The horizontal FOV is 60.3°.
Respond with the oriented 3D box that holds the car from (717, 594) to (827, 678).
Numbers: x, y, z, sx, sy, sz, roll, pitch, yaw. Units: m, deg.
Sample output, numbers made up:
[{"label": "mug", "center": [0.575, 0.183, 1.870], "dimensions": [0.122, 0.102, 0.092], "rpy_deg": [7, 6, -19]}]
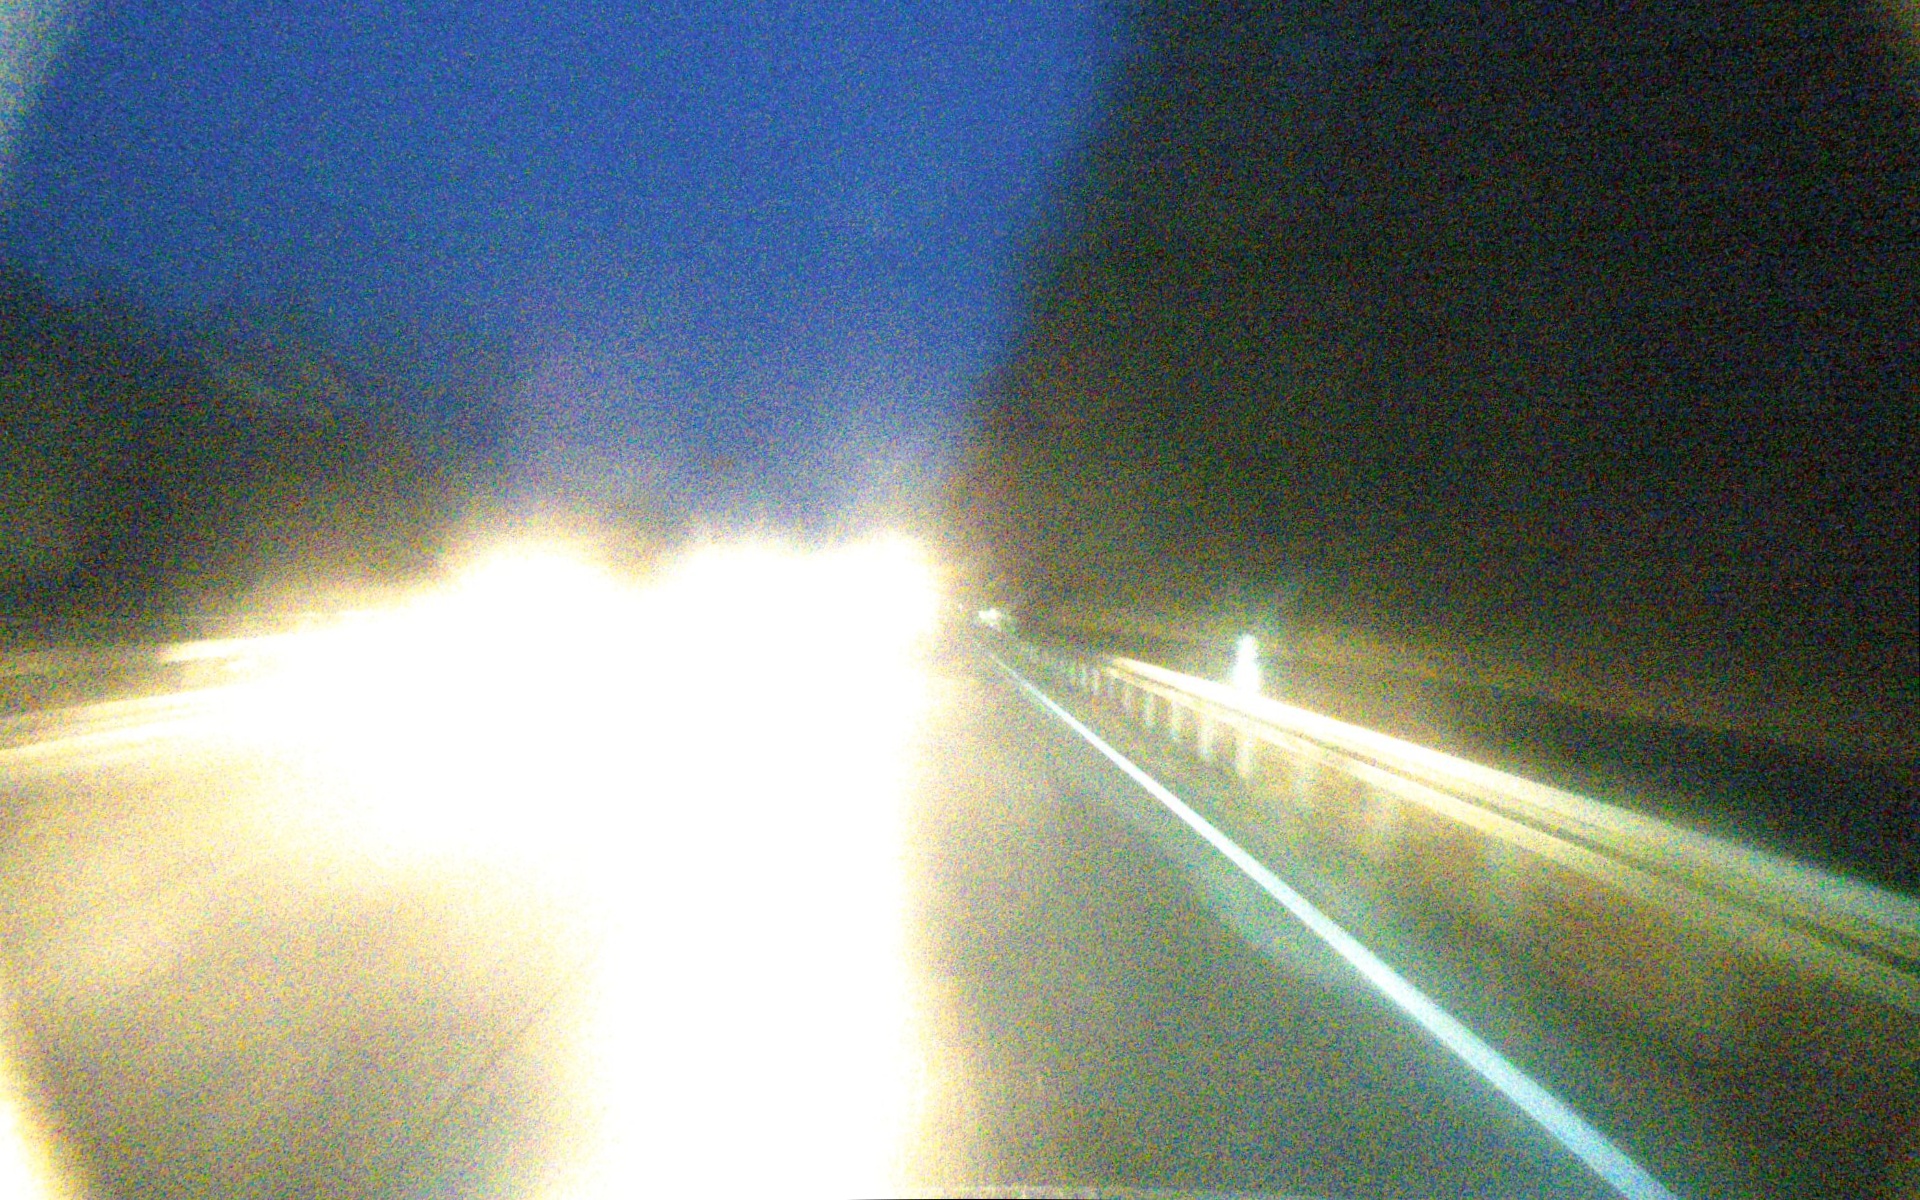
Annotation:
[{"label": "car", "center": [-3.748, 0.699, 33.689], "dimensions": [1.797, 1.572, 4.644], "rpy_deg": [1, 0, -1]}]
